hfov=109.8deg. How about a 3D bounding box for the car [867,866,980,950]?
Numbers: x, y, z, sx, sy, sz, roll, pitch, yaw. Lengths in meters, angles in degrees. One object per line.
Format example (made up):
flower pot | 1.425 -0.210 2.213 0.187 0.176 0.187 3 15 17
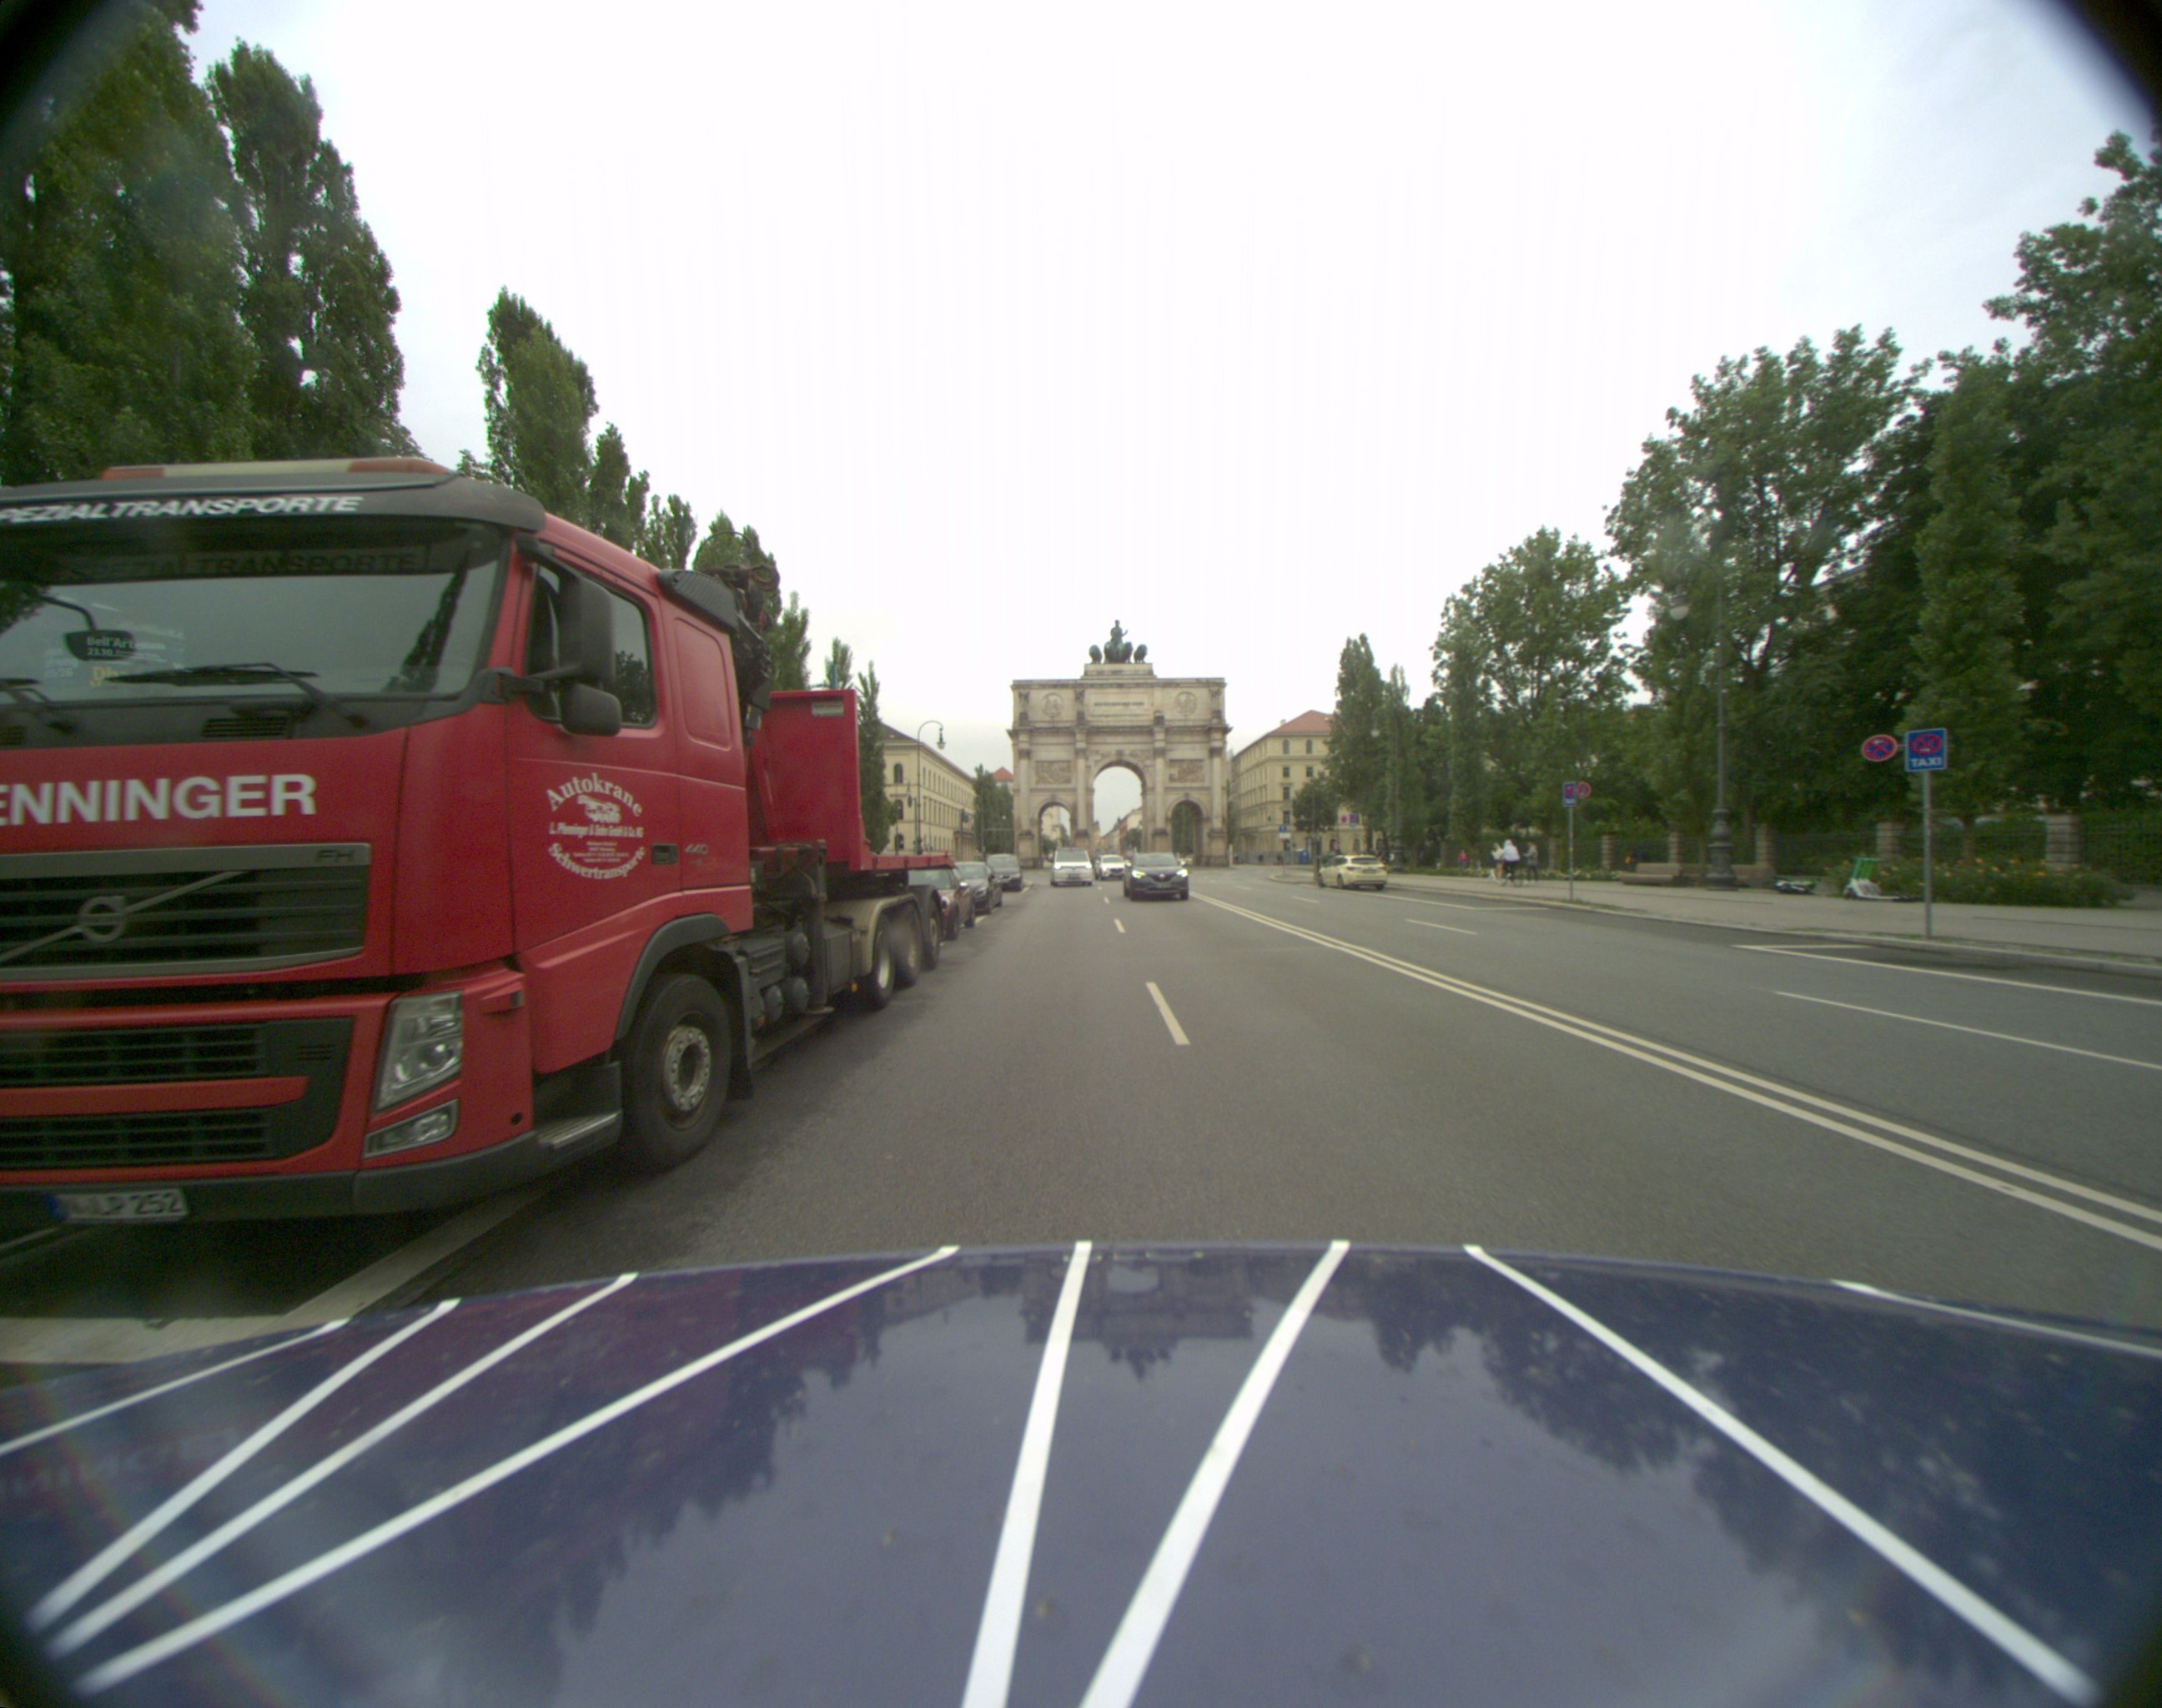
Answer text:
car | -3.092 1.008 15.592 1.565 1.460 3.653 -1 0 0

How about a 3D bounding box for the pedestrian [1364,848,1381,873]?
pedestrian | 20.865 0.447 54.443 0.959 1.708 1.031 -2 1 13

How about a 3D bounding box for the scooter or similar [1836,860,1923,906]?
scooter or similar | 21.086 0.748 20.101 0.747 1.171 1.416 0 0 -4

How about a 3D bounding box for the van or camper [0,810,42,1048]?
van or camper | -10.075 0.656 4.117 2.009 2.002 4.986 -2 0 -1

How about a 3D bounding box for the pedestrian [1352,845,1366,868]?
pedestrian | 21.593 0.214 58.984 0.958 1.708 1.032 -2 1 22

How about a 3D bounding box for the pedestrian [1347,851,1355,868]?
pedestrian | 31.906 0.615 89.765 0.769 2.002 0.887 -1 0 10

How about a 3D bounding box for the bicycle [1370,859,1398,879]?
bicycle | 15.947 0.777 39.999 0.674 0.947 1.913 -2 0 0

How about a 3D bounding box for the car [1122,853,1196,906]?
car | 2.517 0.770 25.434 1.840 1.576 4.184 -2 0 -3

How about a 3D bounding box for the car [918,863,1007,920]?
car | -3.263 1.002 21.751 1.847 1.383 4.438 -1 0 0

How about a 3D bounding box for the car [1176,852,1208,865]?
car | 14.941 0.608 102.327 2.004 1.739 3.989 -1 0 -39

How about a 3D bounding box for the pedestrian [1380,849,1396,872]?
pedestrian | 25.592 0.573 63.390 0.990 1.860 1.031 -2 1 11

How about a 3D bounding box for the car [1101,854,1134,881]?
car | 2.249 0.805 46.831 1.909 1.516 4.010 -1 0 3

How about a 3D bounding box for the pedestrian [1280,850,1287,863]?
pedestrian | 28.125 0.377 105.703 0.880 1.812 0.686 -1 0 9

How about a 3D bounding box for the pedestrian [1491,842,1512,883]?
pedestrian | 17.722 0.344 32.032 0.533 1.720 0.583 -1 0 -11

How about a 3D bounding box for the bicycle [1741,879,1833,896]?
bicycle | 22.714 1.068 24.450 2.219 0.450 1.339 -1 -1 -22

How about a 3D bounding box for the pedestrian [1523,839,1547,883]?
pedestrian | 17.934 0.263 30.023 0.533 1.720 0.583 -1 0 -11

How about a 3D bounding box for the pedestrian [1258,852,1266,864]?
pedestrian | 26.429 0.596 110.919 1.031 1.812 0.882 -1 0 8

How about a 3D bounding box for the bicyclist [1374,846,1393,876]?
bicyclist | 15.926 0.369 39.993 0.647 1.582 0.661 -2 1 -1

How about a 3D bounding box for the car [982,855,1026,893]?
car | -3.486 0.881 34.987 1.847 1.597 4.366 -1 0 -4

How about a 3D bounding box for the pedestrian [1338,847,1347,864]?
pedestrian | 30.931 0.166 89.884 0.769 2.002 0.887 -1 0 10

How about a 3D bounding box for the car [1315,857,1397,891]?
car | 11.617 0.808 32.427 1.797 1.329 4.468 -1 0 -1

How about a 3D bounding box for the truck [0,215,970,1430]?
truck | -3.289 -0.059 7.373 2.852 3.543 10.278 -2 0 0

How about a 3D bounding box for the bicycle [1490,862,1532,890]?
bicycle | 15.978 0.804 28.272 0.470 0.947 1.913 -2 0 0

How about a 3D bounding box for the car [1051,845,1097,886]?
car | -0.460 0.535 38.905 2.064 1.916 5.726 -2 0 -3

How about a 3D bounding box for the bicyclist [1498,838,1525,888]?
bicyclist | 15.978 0.344 28.217 0.591 1.812 0.661 -2 1 -1
